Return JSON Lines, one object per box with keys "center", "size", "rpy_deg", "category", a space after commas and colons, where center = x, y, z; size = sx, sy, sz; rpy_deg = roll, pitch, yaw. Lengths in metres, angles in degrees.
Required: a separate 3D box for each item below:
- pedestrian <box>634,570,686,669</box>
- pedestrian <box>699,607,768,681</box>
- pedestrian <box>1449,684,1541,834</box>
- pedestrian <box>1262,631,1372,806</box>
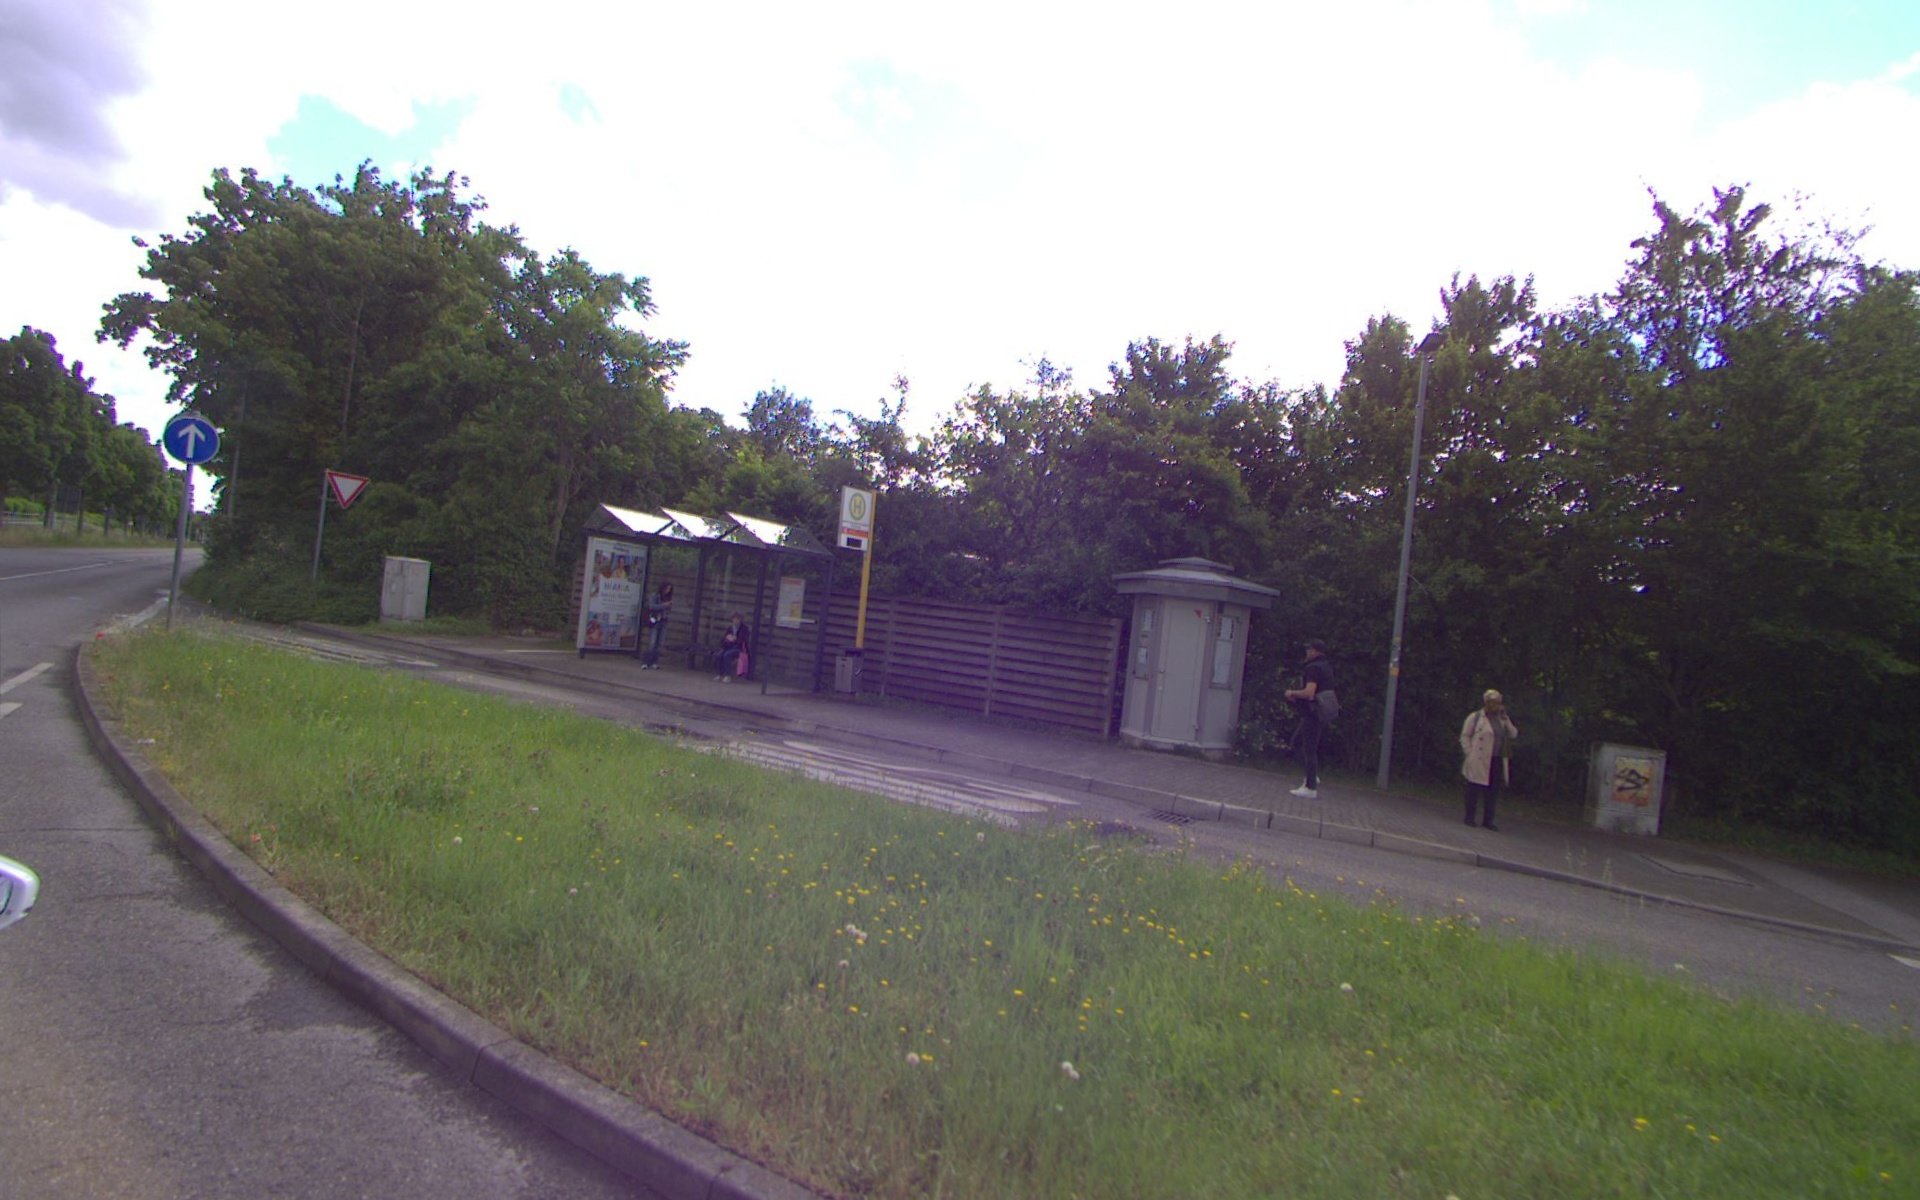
{"center": [-5.385, 0.347, 18.041], "size": [0.677, 1.670, 0.768], "rpy_deg": [6, 0, -22], "category": "pedestrian"}
{"center": [-3.919, 0.767, 17.435], "size": [0.758, 1.184, 0.750], "rpy_deg": [6, -1, 26], "category": "pedestrian"}
{"center": [6.318, 1.847, 11.921], "size": [0.757, 1.613, 0.687], "rpy_deg": [6, 0, 23], "category": "pedestrian"}
{"center": [4.149, 1.354, 11.783], "size": [0.966, 1.844, 0.857], "rpy_deg": [7, 0, 17], "category": "pedestrian"}
